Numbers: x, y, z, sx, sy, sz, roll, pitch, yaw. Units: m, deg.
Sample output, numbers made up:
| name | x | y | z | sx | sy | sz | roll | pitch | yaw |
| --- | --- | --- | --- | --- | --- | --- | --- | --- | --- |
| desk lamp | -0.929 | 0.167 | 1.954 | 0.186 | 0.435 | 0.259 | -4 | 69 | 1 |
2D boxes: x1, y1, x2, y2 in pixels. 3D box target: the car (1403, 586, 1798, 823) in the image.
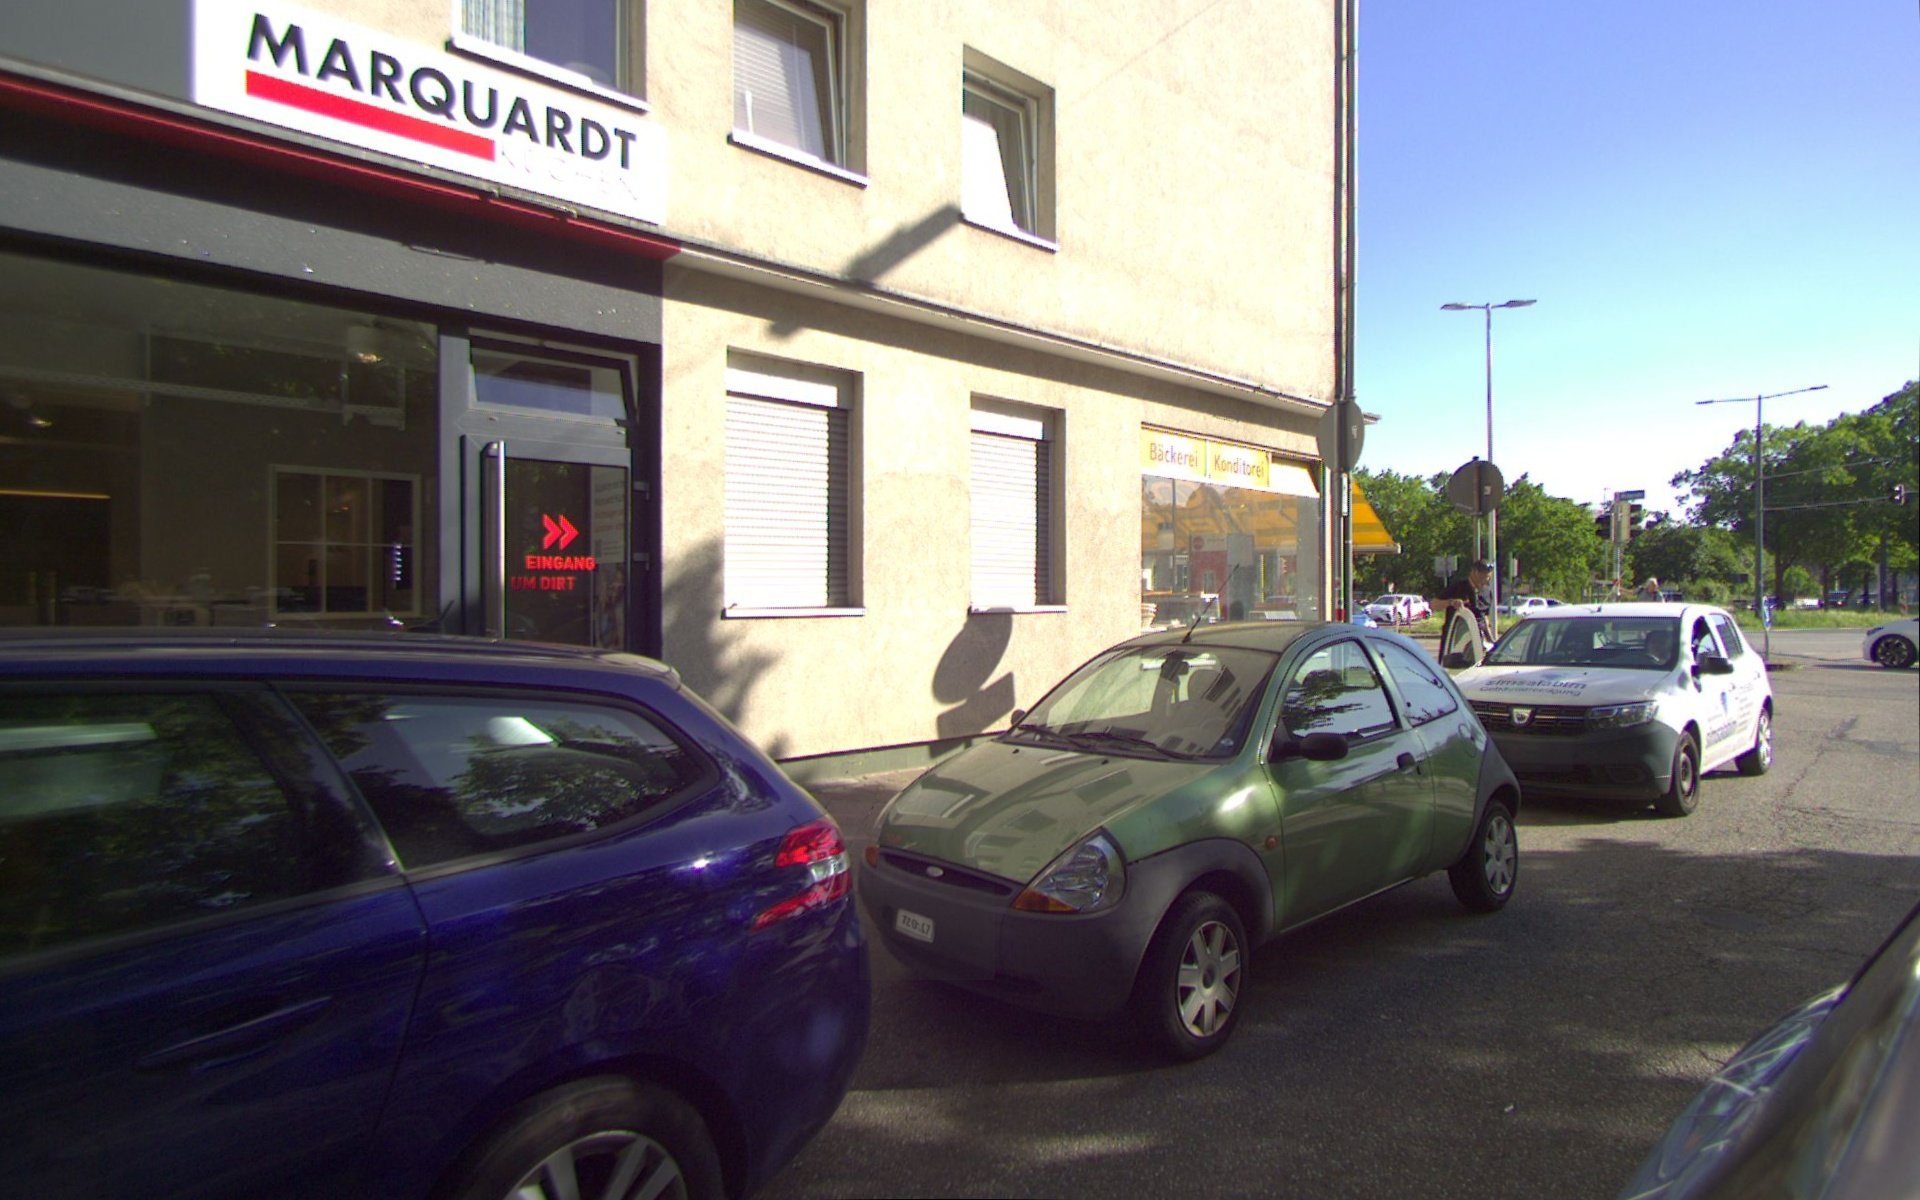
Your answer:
| name | x | y | z | sx | sy | sz | roll | pitch | yaw |
| --- | --- | --- | --- | --- | --- | --- | --- | --- | --- |
| car | 5.474 | 0.658 | 8.452 | 3.952 | 1.516 | 1.722 | 0 | 0 | -41 |

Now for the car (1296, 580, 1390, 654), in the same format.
| name | x | y | z | sx | sy | sz | roll | pitch | yaw |
| --- | --- | --- | --- | --- | --- | --- | --- | --- | --- |
| car | 10.160 | 0.403 | 27.139 | 1.847 | 1.798 | 4.464 | 0 | 0 | 15 |

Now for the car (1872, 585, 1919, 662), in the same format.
| name | x | y | z | sx | sy | sz | roll | pitch | yaw |
| --- | --- | --- | --- | --- | --- | --- | --- | --- | --- |
| car | 20.775 | 0.475 | 19.052 | 1.883 | 1.538 | 5.047 | 0 | 0 | -20 |

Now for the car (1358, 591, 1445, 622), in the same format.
| name | x | y | z | sx | sy | sz | roll | pitch | yaw |
| --- | --- | --- | --- | --- | --- | --- | --- | --- | --- |
| car | 21.923 | 0.284 | 50.182 | 4.398 | 1.474 | 1.874 | 0 | 0 | -34 |

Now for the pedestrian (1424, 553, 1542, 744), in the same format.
| name | x | y | z | sx | sy | sz | roll | pitch | yaw |
| --- | --- | --- | --- | --- | --- | --- | --- | --- | --- |
| pedestrian | 5.062 | 0.441 | 9.809 | 0.731 | 1.744 | 0.761 | 0 | 0 | -35 |

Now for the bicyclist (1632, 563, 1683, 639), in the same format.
| name | x | y | z | sx | sy | sz | roll | pitch | yaw |
| --- | --- | --- | --- | --- | --- | --- | --- | --- | --- |
| bicyclist | 14.991 | 0.014 | 21.760 | 0.820 | 1.584 | 0.590 | 0 | 0 | 27 |

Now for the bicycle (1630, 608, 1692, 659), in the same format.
| name | x | y | z | sx | sy | sz | roll | pitch | yaw |
| --- | --- | --- | --- | --- | --- | --- | --- | --- | --- |
| bicycle | 14.945 | 0.695 | 21.625 | 0.821 | 0.999 | 1.928 | 0 | 0 | 26 |

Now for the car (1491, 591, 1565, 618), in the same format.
| name | x | y | z | sx | sy | sz | roll | pitch | yaw |
| --- | --- | --- | --- | --- | --- | --- | --- | --- | --- |
| car | 32.268 | 0.214 | 57.452 | 4.398 | 1.474 | 1.874 | 0 | 0 | -34 |

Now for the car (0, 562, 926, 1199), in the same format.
| name | x | y | z | sx | sy | sz | roll | pitch | yaw |
| --- | --- | --- | --- | --- | --- | --- | --- | --- | --- |
| car | -2.232 | 0.700 | 1.437 | 1.802 | 1.482 | 4.370 | 0 | 0 | 44 |

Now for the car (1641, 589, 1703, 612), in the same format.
| name | x | y | z | sx | sy | sz | roll | pitch | yaw |
| --- | --- | --- | --- | --- | --- | --- | --- | --- | --- |
| car | 46.850 | 0.015 | 66.557 | 4.398 | 1.474 | 1.874 | 0 | 0 | -34 |

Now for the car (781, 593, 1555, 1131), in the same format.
| name | x | y | z | sx | sy | sz | roll | pitch | yaw |
| --- | --- | --- | --- | --- | --- | --- | --- | --- | --- |
| car | 1.164 | 0.719 | 4.609 | 3.608 | 1.482 | 1.599 | -1 | 0 | -41 |
